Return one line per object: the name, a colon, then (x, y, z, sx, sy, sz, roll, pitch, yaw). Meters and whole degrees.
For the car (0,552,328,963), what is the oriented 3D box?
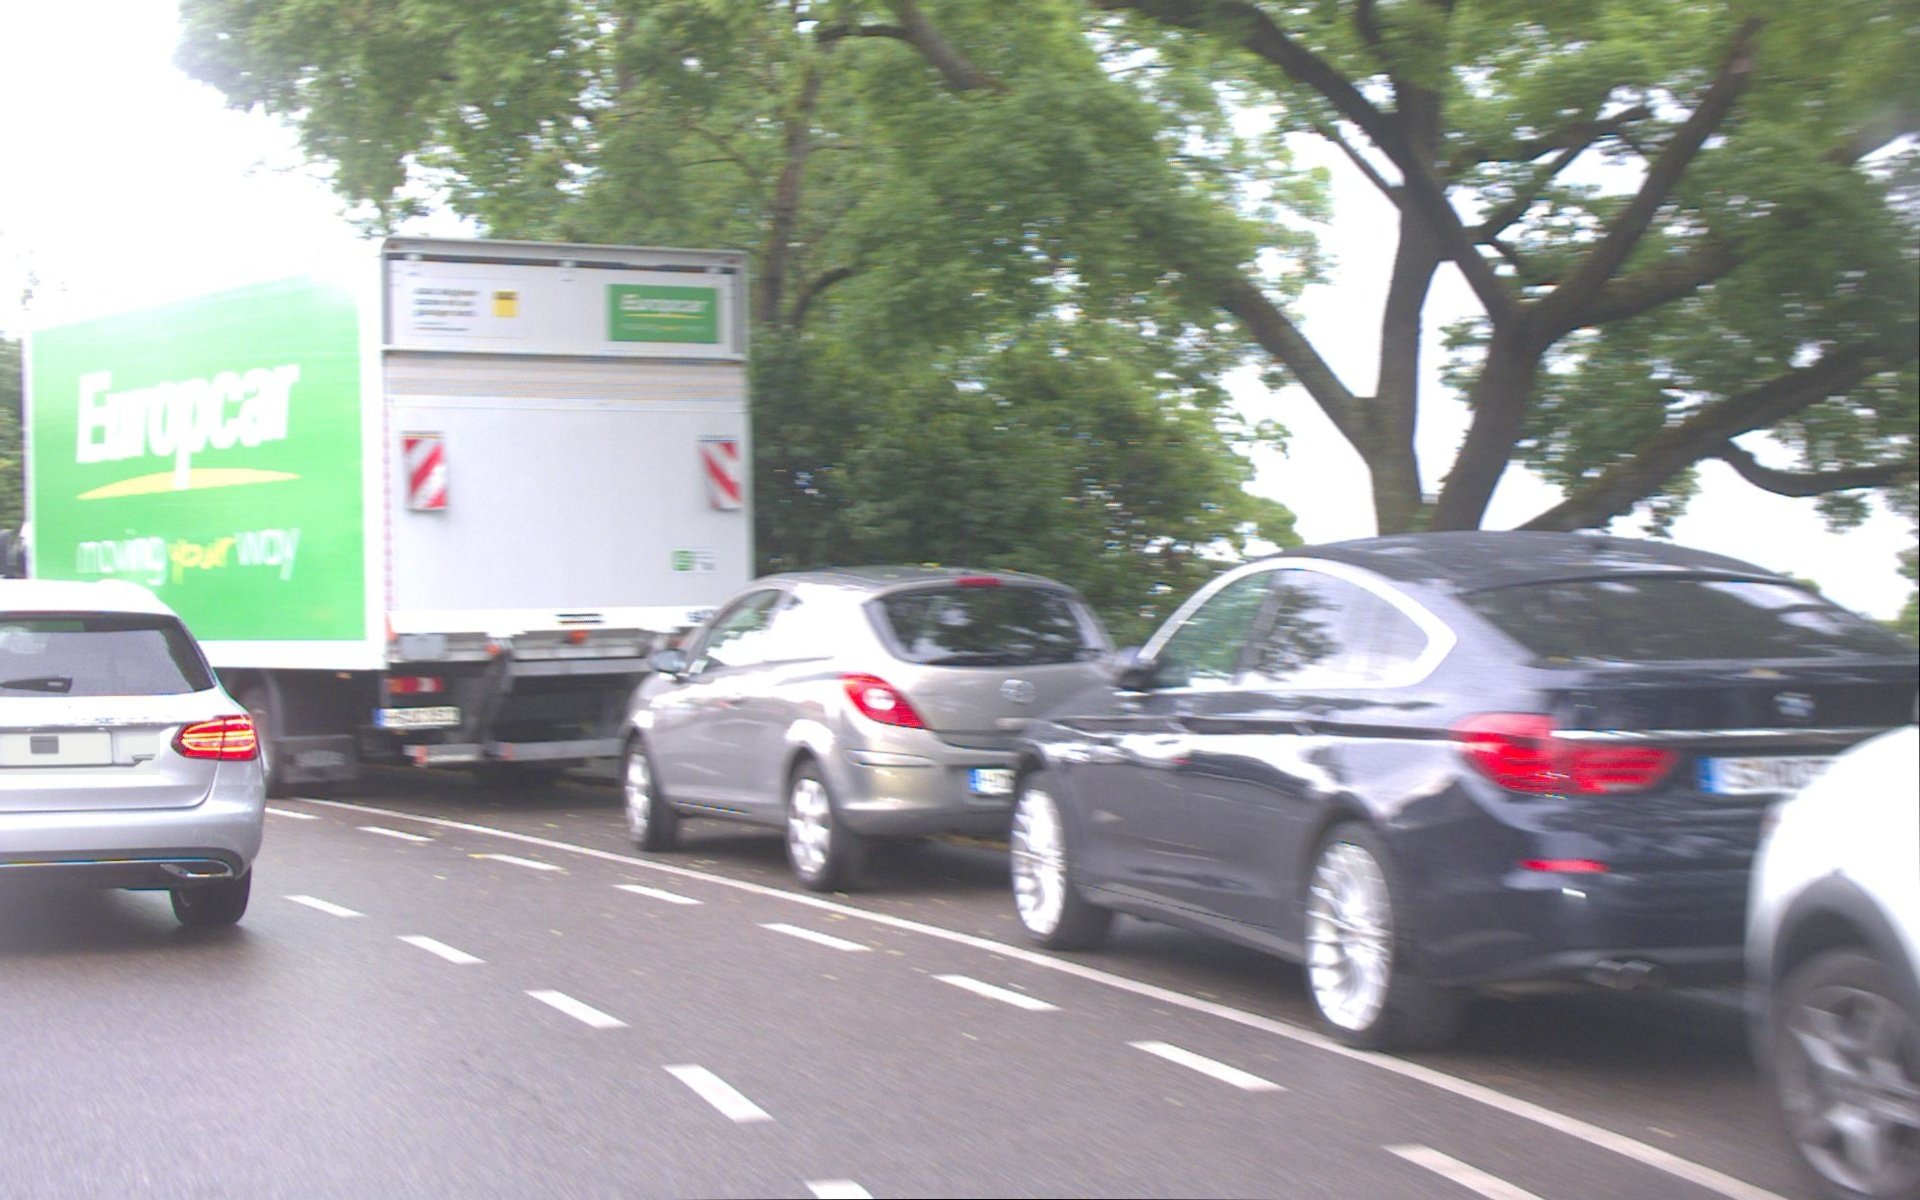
car: (-4.294, 0.585, 15.013, 1.982, 1.548, 4.298, 0, 0, -25)

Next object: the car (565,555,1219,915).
car: (-0.483, 0.567, 17.091, 1.733, 1.498, 4.136, -3, 1, -24)

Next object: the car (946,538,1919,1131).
car: (1.540, 0.598, 11.853, 1.859, 1.537, 4.896, -2, 1, -16)

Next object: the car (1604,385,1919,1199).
car: (3.016, 0.451, 6.322, 1.746, 1.815, 4.425, -2, 1, -16)

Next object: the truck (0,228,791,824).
truck: (-4.779, -0.494, 24.424, 2.774, 3.459, 8.932, -2, 1, -35)
